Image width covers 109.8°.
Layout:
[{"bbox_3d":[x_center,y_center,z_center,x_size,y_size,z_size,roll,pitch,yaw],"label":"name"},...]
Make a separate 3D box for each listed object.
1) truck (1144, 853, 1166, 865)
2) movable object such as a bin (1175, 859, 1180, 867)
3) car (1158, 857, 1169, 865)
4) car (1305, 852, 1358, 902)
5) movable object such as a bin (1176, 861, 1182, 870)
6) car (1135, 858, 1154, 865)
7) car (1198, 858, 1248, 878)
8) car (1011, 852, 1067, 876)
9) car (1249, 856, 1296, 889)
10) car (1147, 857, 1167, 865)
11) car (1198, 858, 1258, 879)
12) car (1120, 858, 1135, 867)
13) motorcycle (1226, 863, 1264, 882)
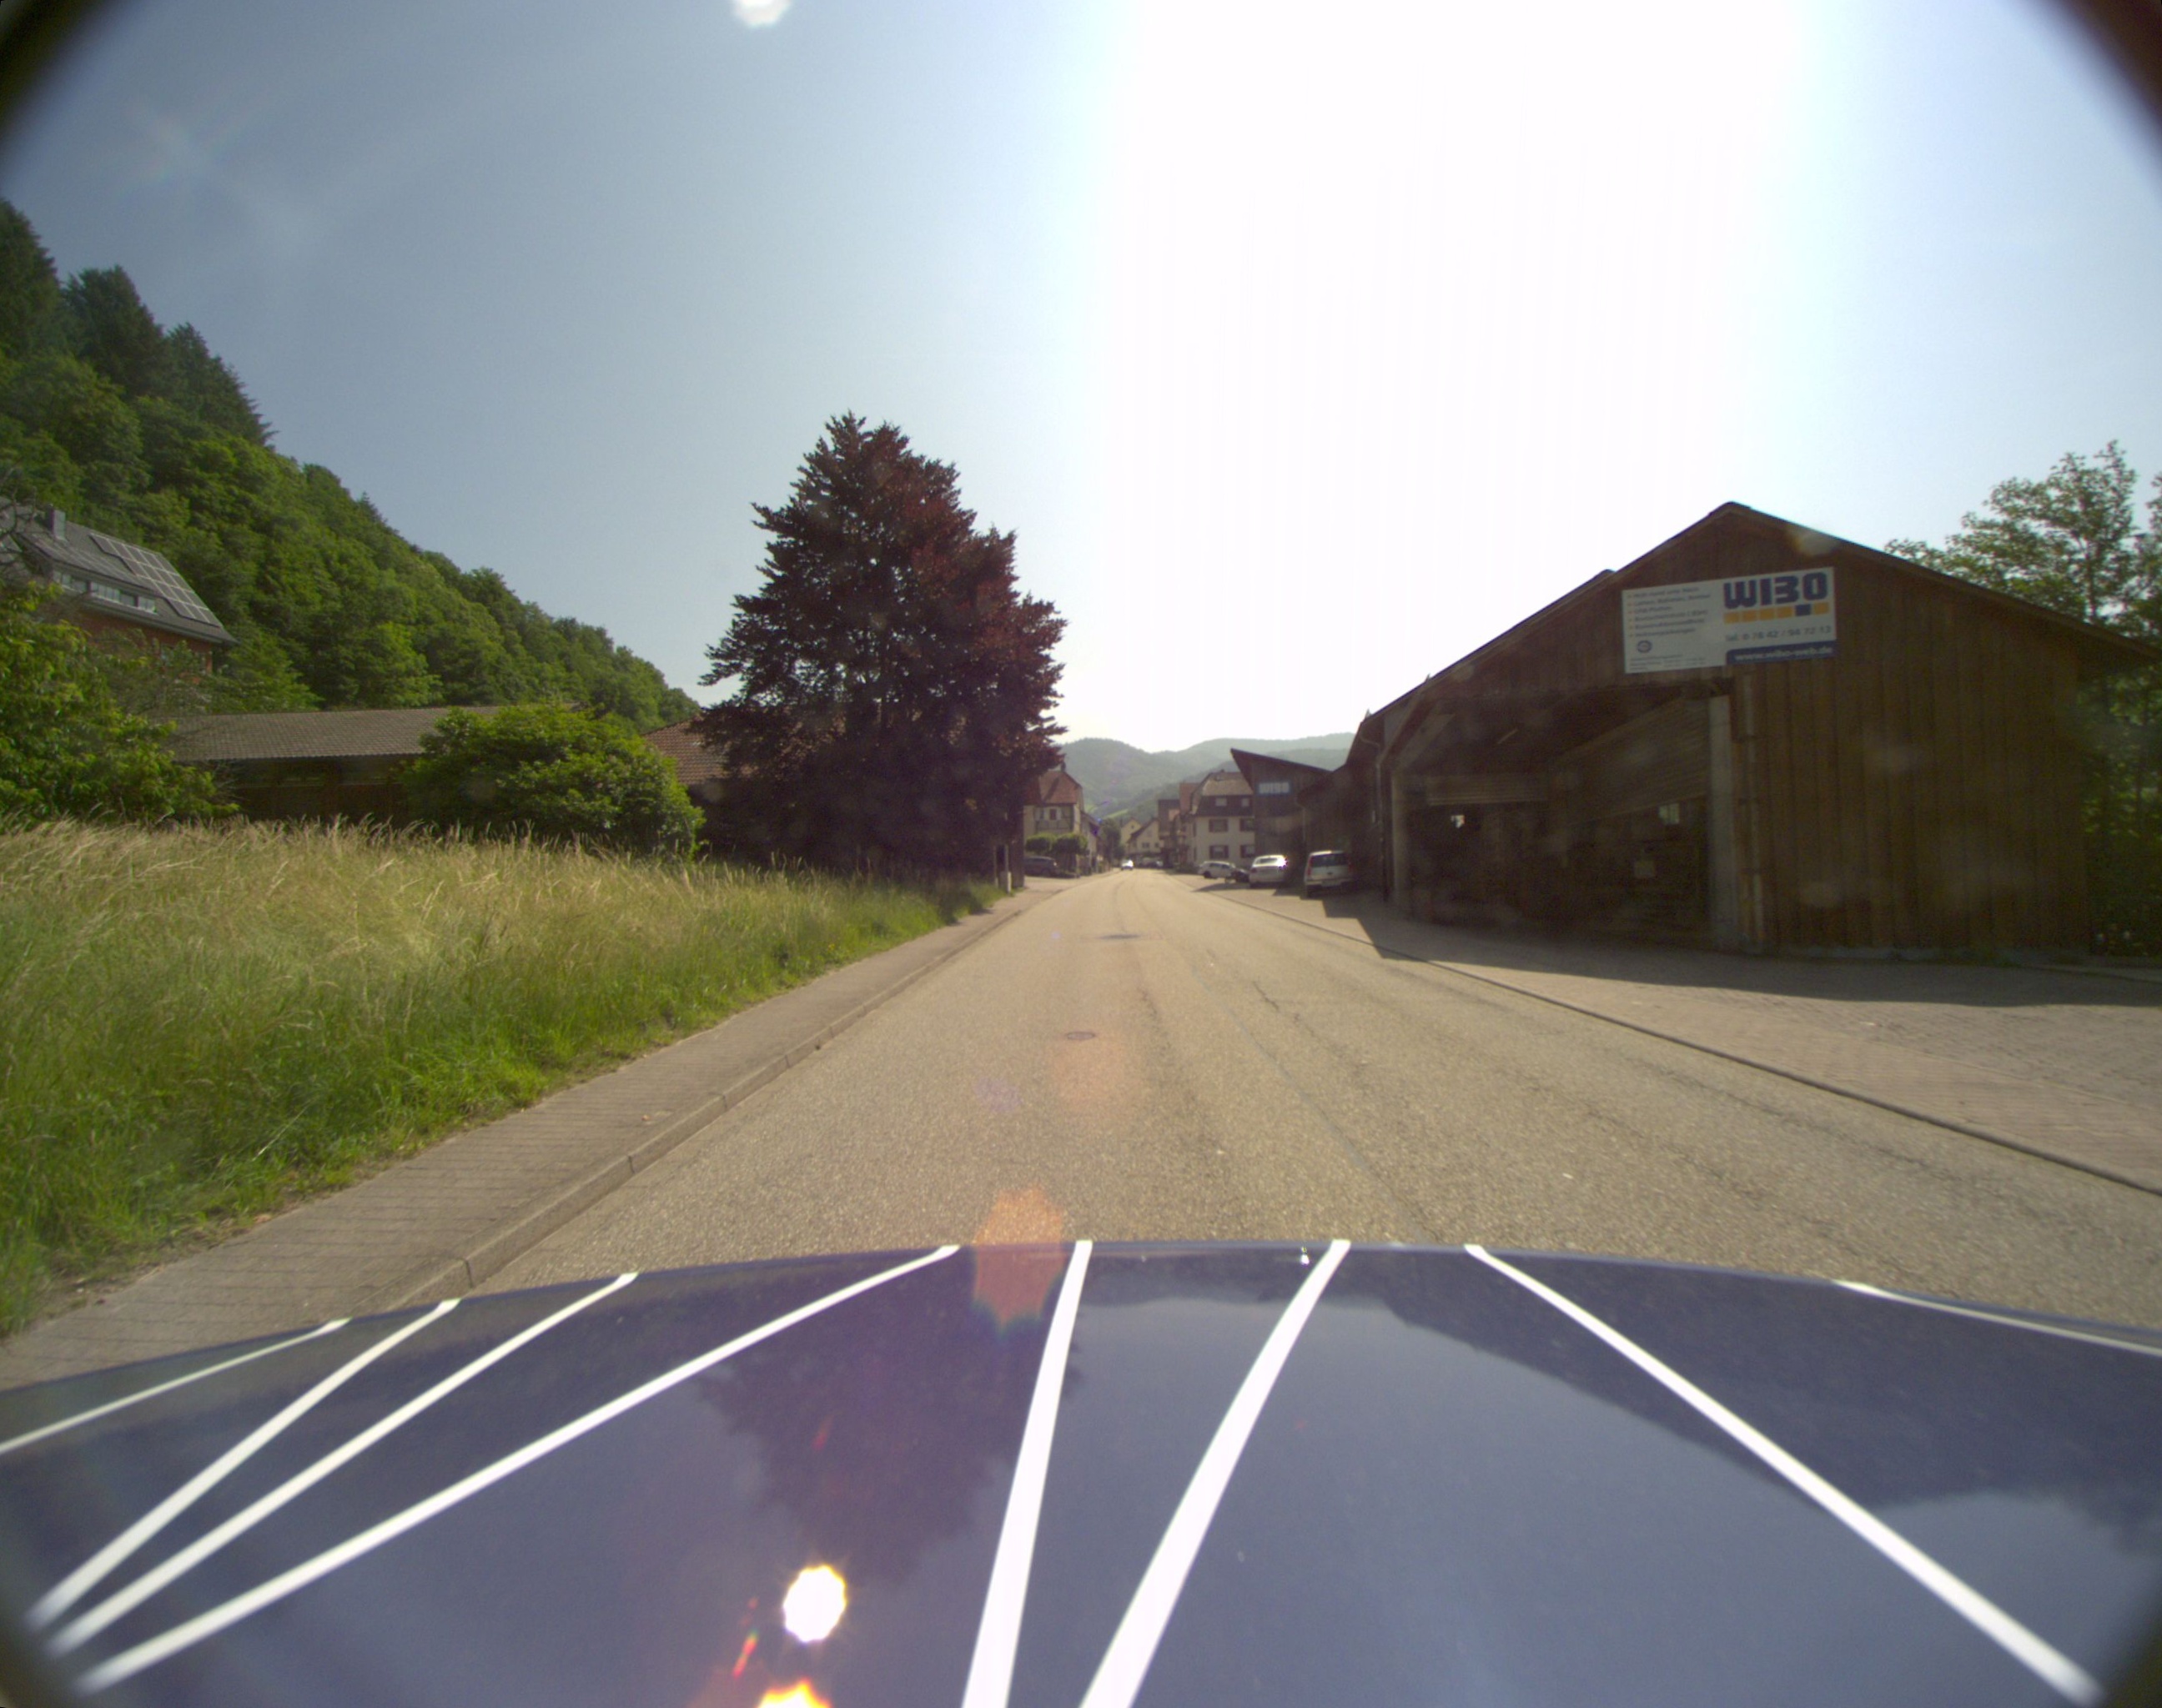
[{"bbox_3d":[15.435,1.021,158.656,4.176,2.253,2.000,-2,0,0],"label":"truck"},{"bbox_3d":[14.344,1.345,113.172,0.719,1.174,0.598,1,0,6],"label":"movable object such as a bin"},{"bbox_3d":[15.758,1.299,146.009,1.774,1.544,4.286,-2,0,2],"label":"car"},{"bbox_3d":[8.838,0.774,26.991,1.583,1.560,4.028,-4,-1,17],"label":"car"},{"bbox_3d":[12.088,1.412,93.332,0.677,1.060,0.621,-1,0,4],"label":"movable object such as a bin"},{"bbox_3d":[13.923,1.614,165.710,3.995,1.563,1.578,1,0,7],"label":"car"},{"bbox_3d":[11.399,1.131,60.951,3.662,1.377,1.713,3,1,20],"label":"car"},{"bbox_3d":[-3.384,0.806,61.755,4.228,1.677,1.778,4,1,9],"label":"car"},{"bbox_3d":[9.140,0.870,36.111,1.731,1.445,4.812,-2,-1,19],"label":"car"},{"bbox_3d":[15.352,1.411,153.680,4.104,1.494,1.754,-1,0,3],"label":"car"},{"bbox_3d":[12.235,1.180,63.267,4.430,1.466,1.928,3,1,31],"label":"car"},{"bbox_3d":[8.214,1.481,133.697,1.999,1.672,3.998,0,0,-6],"label":"car"},{"bbox_3d":[10.907,1.220,50.422,2.412,1.257,0.744,0,0,15],"label":"motorcycle"}]
